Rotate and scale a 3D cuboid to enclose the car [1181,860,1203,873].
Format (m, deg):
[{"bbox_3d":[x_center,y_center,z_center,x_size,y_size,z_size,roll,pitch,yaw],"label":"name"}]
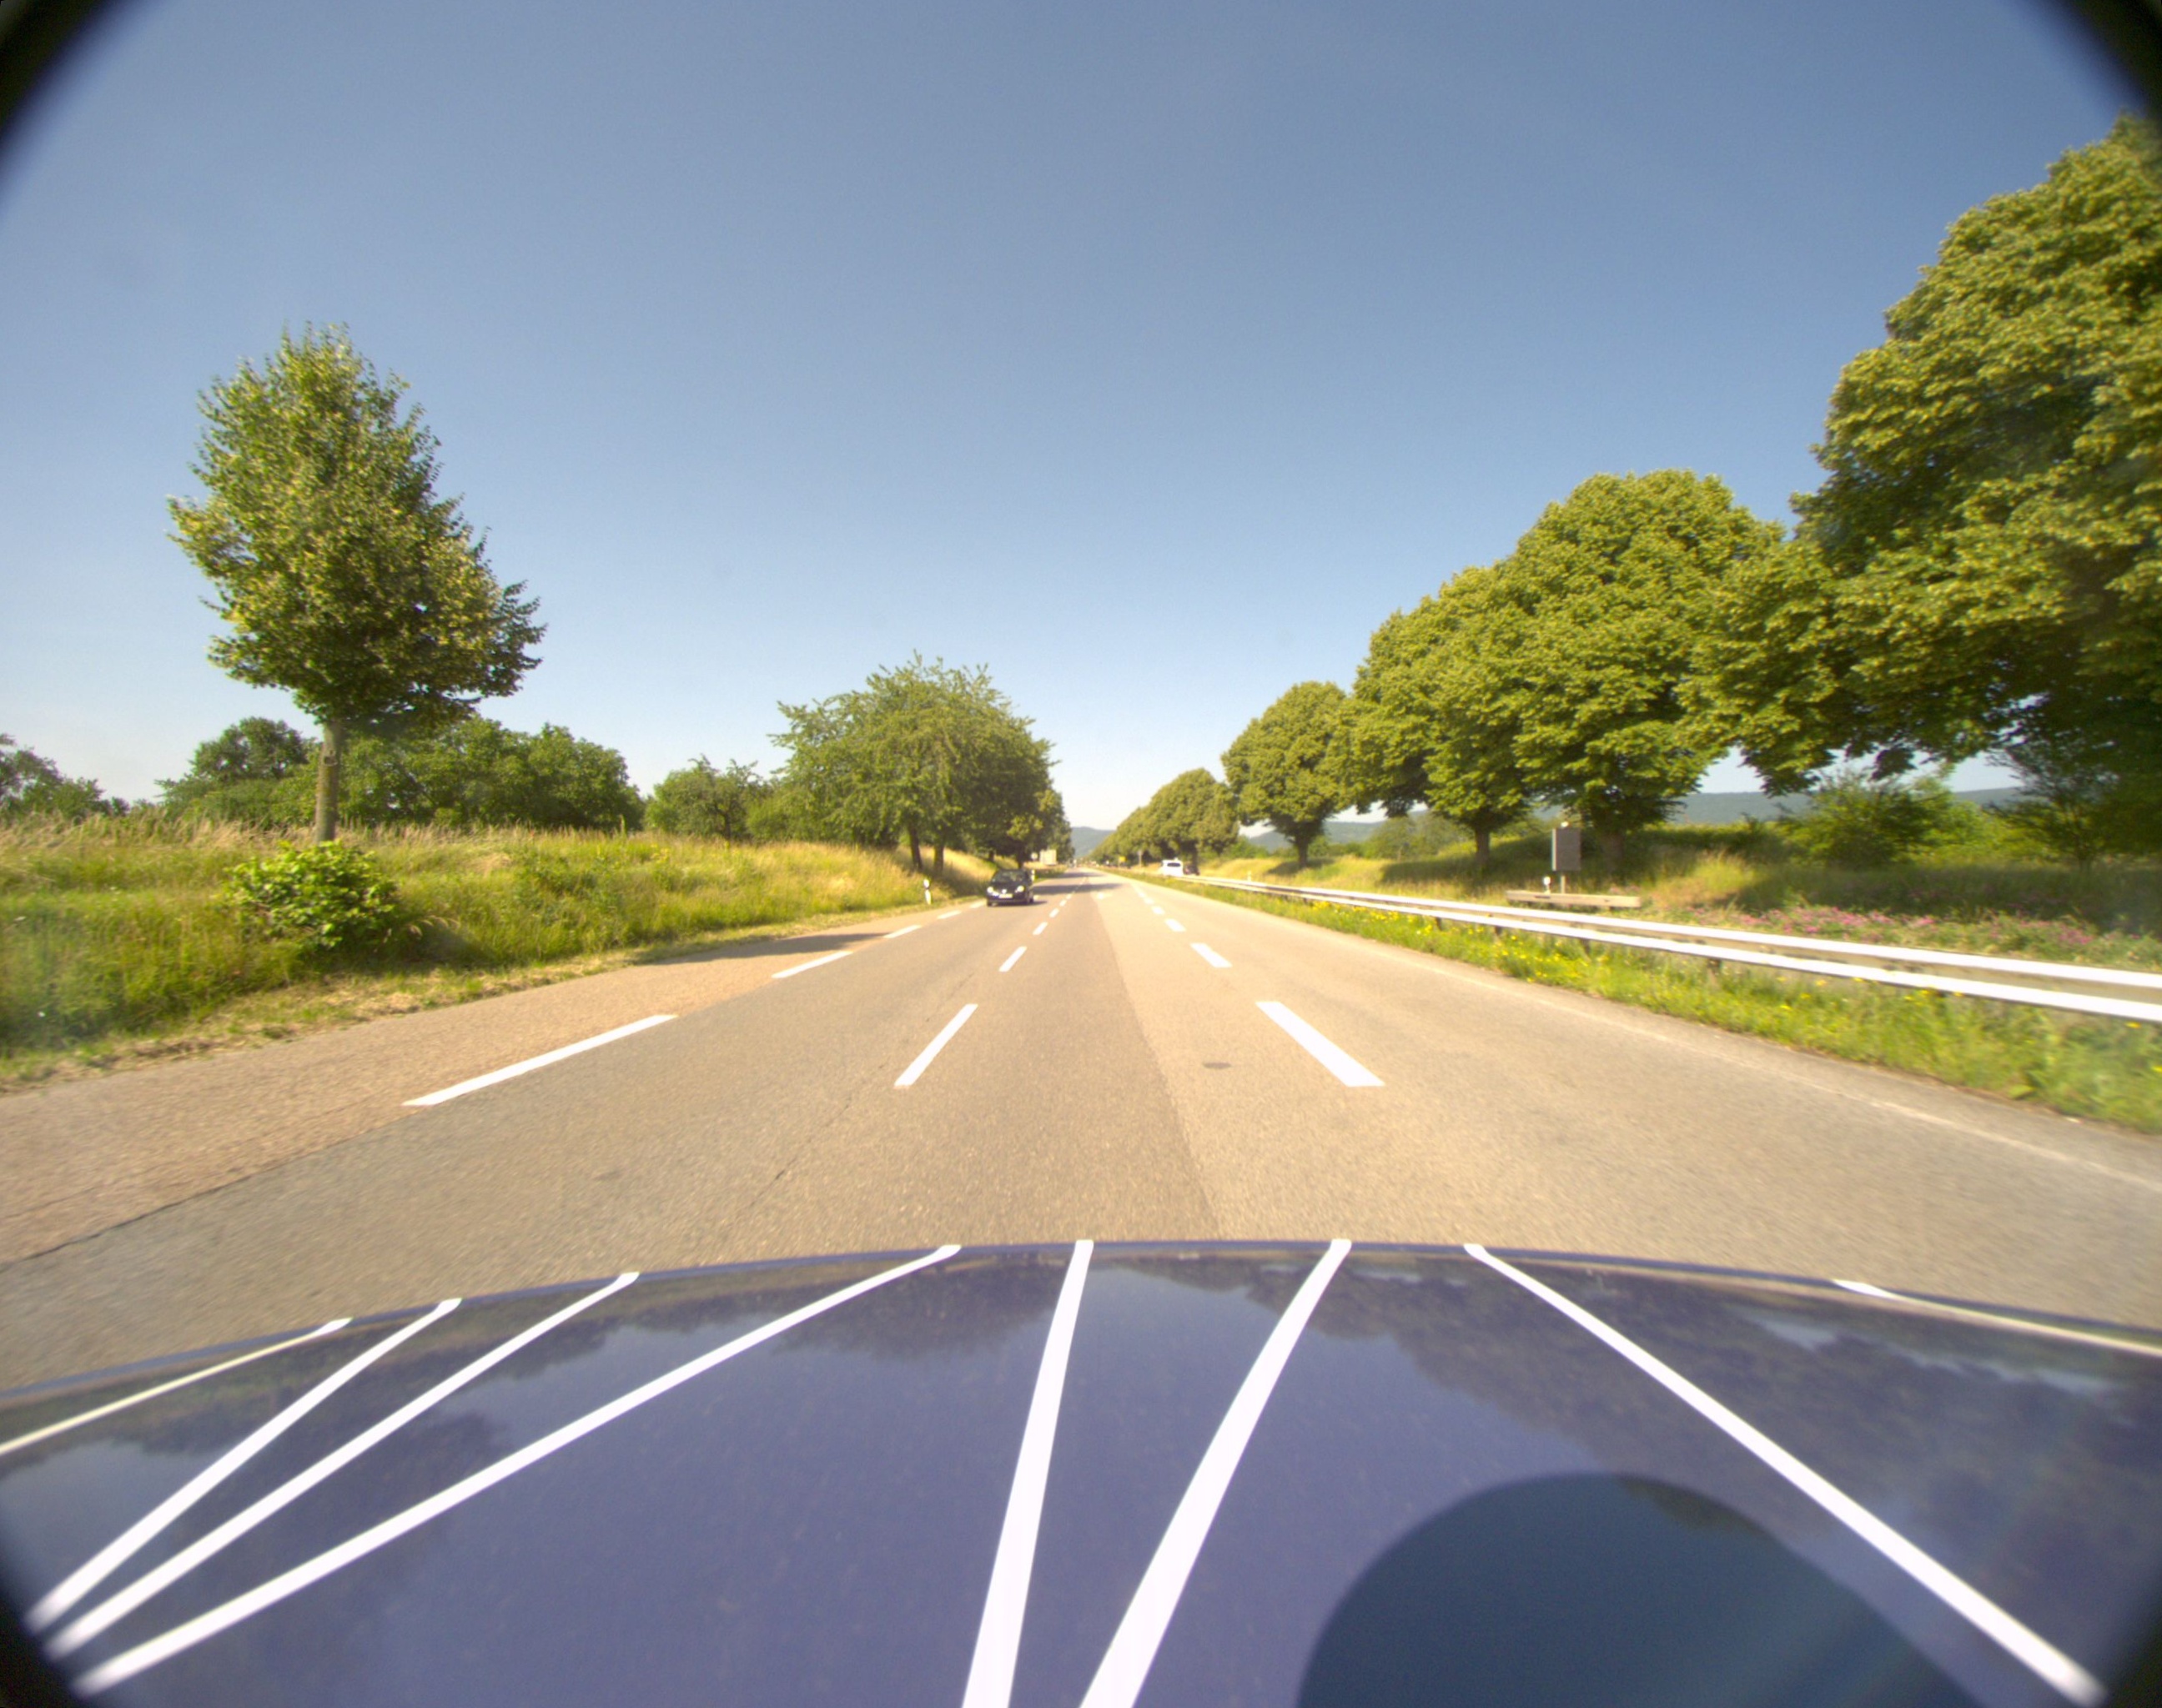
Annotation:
[{"bbox_3d":[12.740,1.378,87.138,1.727,1.455,3.698,0,0,-5],"label":"car"}]

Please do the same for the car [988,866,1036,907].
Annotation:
[{"bbox_3d":[-2.679,1.246,30.267,1.629,1.425,3.622,-1,0,-1],"label":"car"}]

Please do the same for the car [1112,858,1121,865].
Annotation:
[{"bbox_3d":[8.486,1.808,180.666,1.933,1.521,4.000,0,0,1],"label":"car"}]

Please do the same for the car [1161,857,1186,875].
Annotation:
[{"bbox_3d":[9.079,1.154,74.933,1.998,1.791,4.000,0,0,1],"label":"car"}]

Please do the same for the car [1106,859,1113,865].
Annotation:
[{"bbox_3d":[8.088,2.178,215.758,1.998,1.606,3.999,-2,1,0],"label":"car"}]

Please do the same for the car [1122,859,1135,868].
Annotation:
[{"bbox_3d":[8.604,1.764,138.508,1.933,1.521,3.999,2,0,-2],"label":"car"}]
